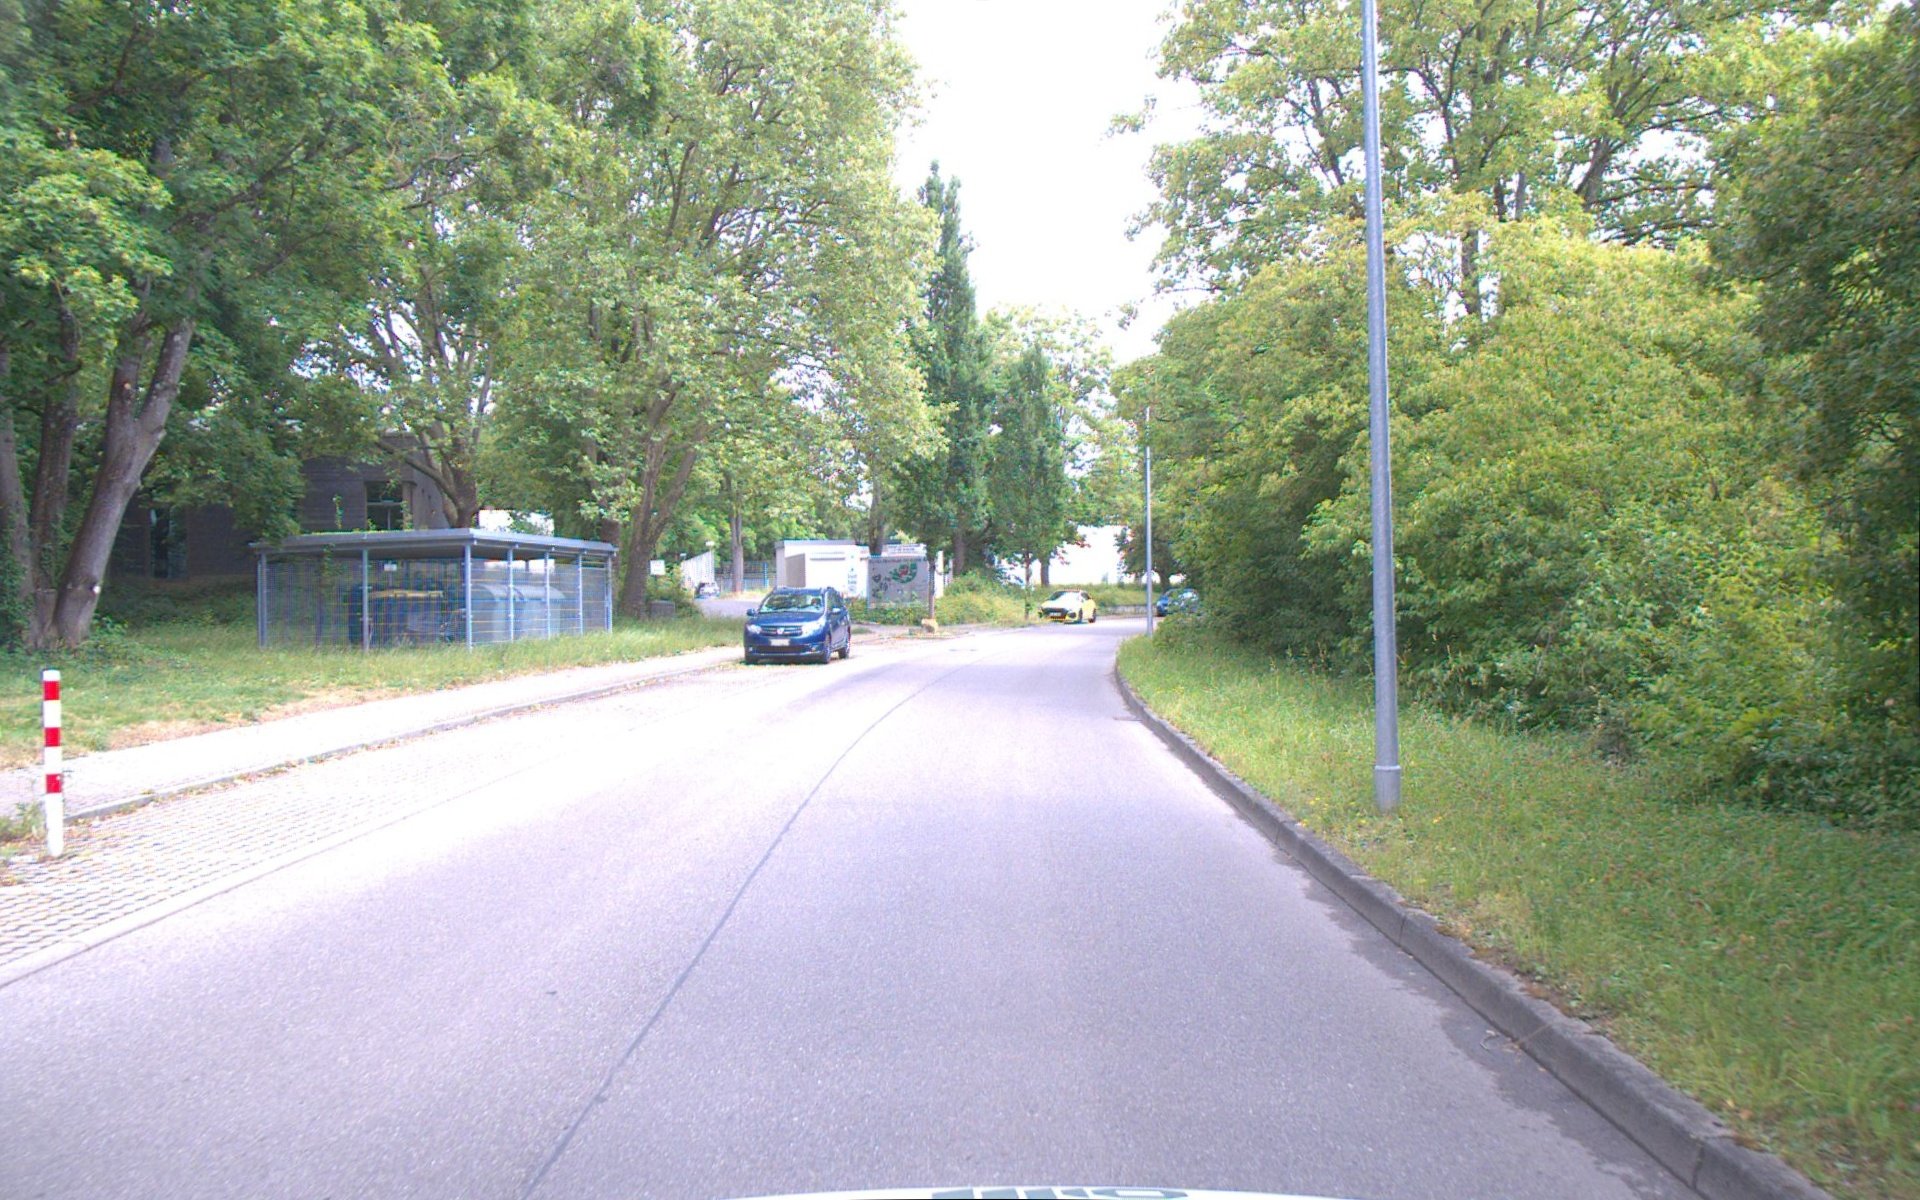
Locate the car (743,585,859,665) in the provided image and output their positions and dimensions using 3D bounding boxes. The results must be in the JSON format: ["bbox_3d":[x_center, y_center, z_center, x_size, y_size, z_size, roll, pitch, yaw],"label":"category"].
[{"bbox_3d":[-3.228,0.479,34.409,1.644,1.538,4.434,-1,0,5],"label":"car"}]

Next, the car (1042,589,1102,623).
[{"bbox_3d":[4.897,0.260,71.894,1.664,1.427,4.275,0,0,17],"label":"car"}]

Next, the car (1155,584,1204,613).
[{"bbox_3d":[11.766,-0.106,88.508,1.503,1.484,3.717,0,0,25],"label":"car"}]

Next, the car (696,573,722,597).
[{"bbox_3d":[-19.847,-1.194,130.939,1.836,1.776,3.994,-2,1,-7],"label":"car"}]
